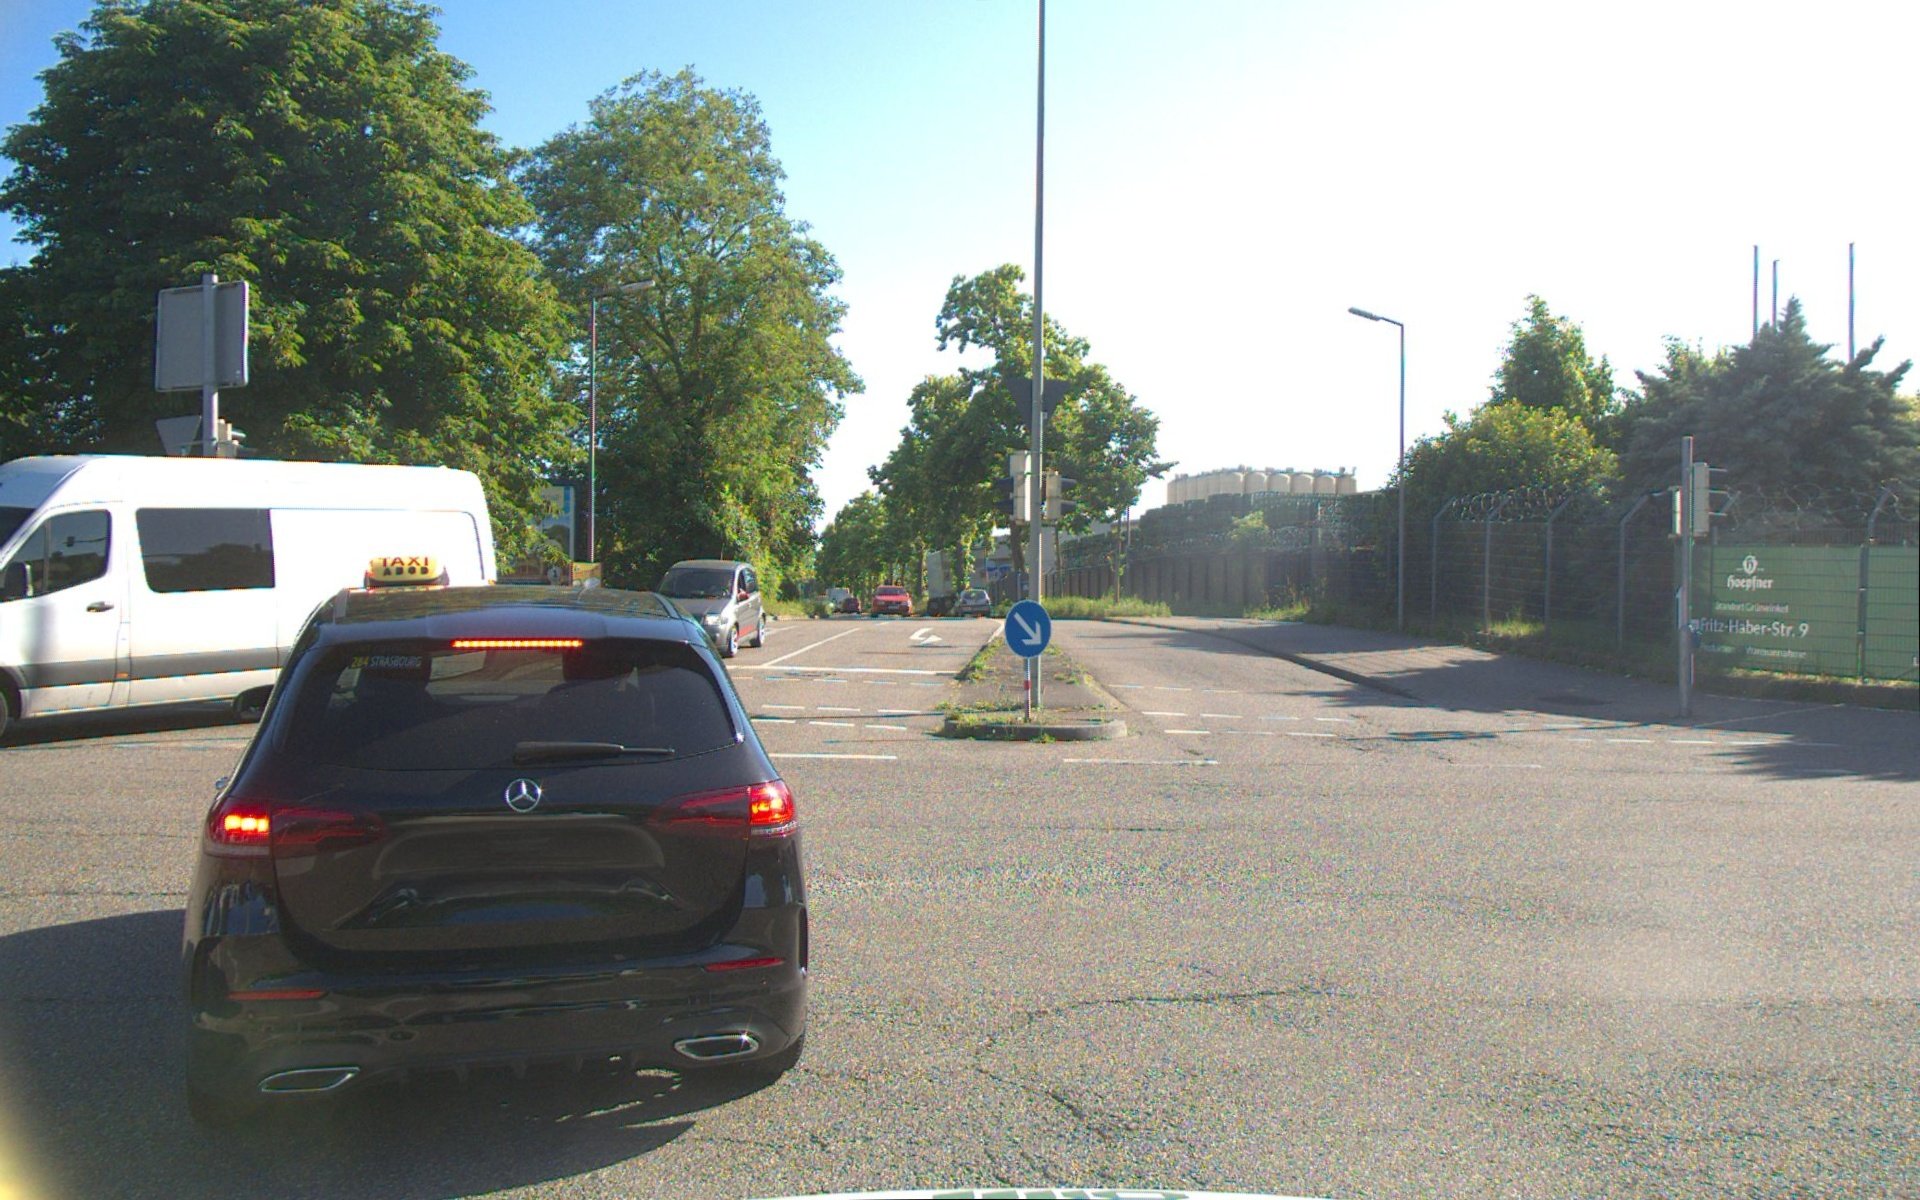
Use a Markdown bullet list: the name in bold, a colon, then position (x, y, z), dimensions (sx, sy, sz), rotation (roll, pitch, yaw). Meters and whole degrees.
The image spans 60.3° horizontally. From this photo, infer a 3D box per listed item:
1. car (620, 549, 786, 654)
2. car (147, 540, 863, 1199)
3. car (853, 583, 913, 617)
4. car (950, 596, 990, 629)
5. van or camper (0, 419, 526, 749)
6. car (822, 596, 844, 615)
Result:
- **car**: position (-4.307, 0.014, 28.357), dimensions (1.766, 1.668, 4.003), rotation (0, 0, 7)
- **car**: position (-1.593, 0.654, 6.111), dimensions (1.740, 1.620, 3.974), rotation (0, 0, -15)
- **car**: position (-3.525, 0.005, 74.912), dimensions (1.827, 1.495, 4.120), rotation (0, 0, -16)
- **car**: position (0.493, 0.629, 84.327), dimensions (1.657, 1.660, 3.125), rotation (0, 0, -8)
- **van or camper**: position (-7.791, -0.116, 16.605), dimensions (2.186, 2.787, 7.062), rotation (1, 0, 32)
- **car**: position (-10.439, 0.420, 135.592), dimensions (1.821, 1.495, 4.134), rotation (0, 0, -5)
